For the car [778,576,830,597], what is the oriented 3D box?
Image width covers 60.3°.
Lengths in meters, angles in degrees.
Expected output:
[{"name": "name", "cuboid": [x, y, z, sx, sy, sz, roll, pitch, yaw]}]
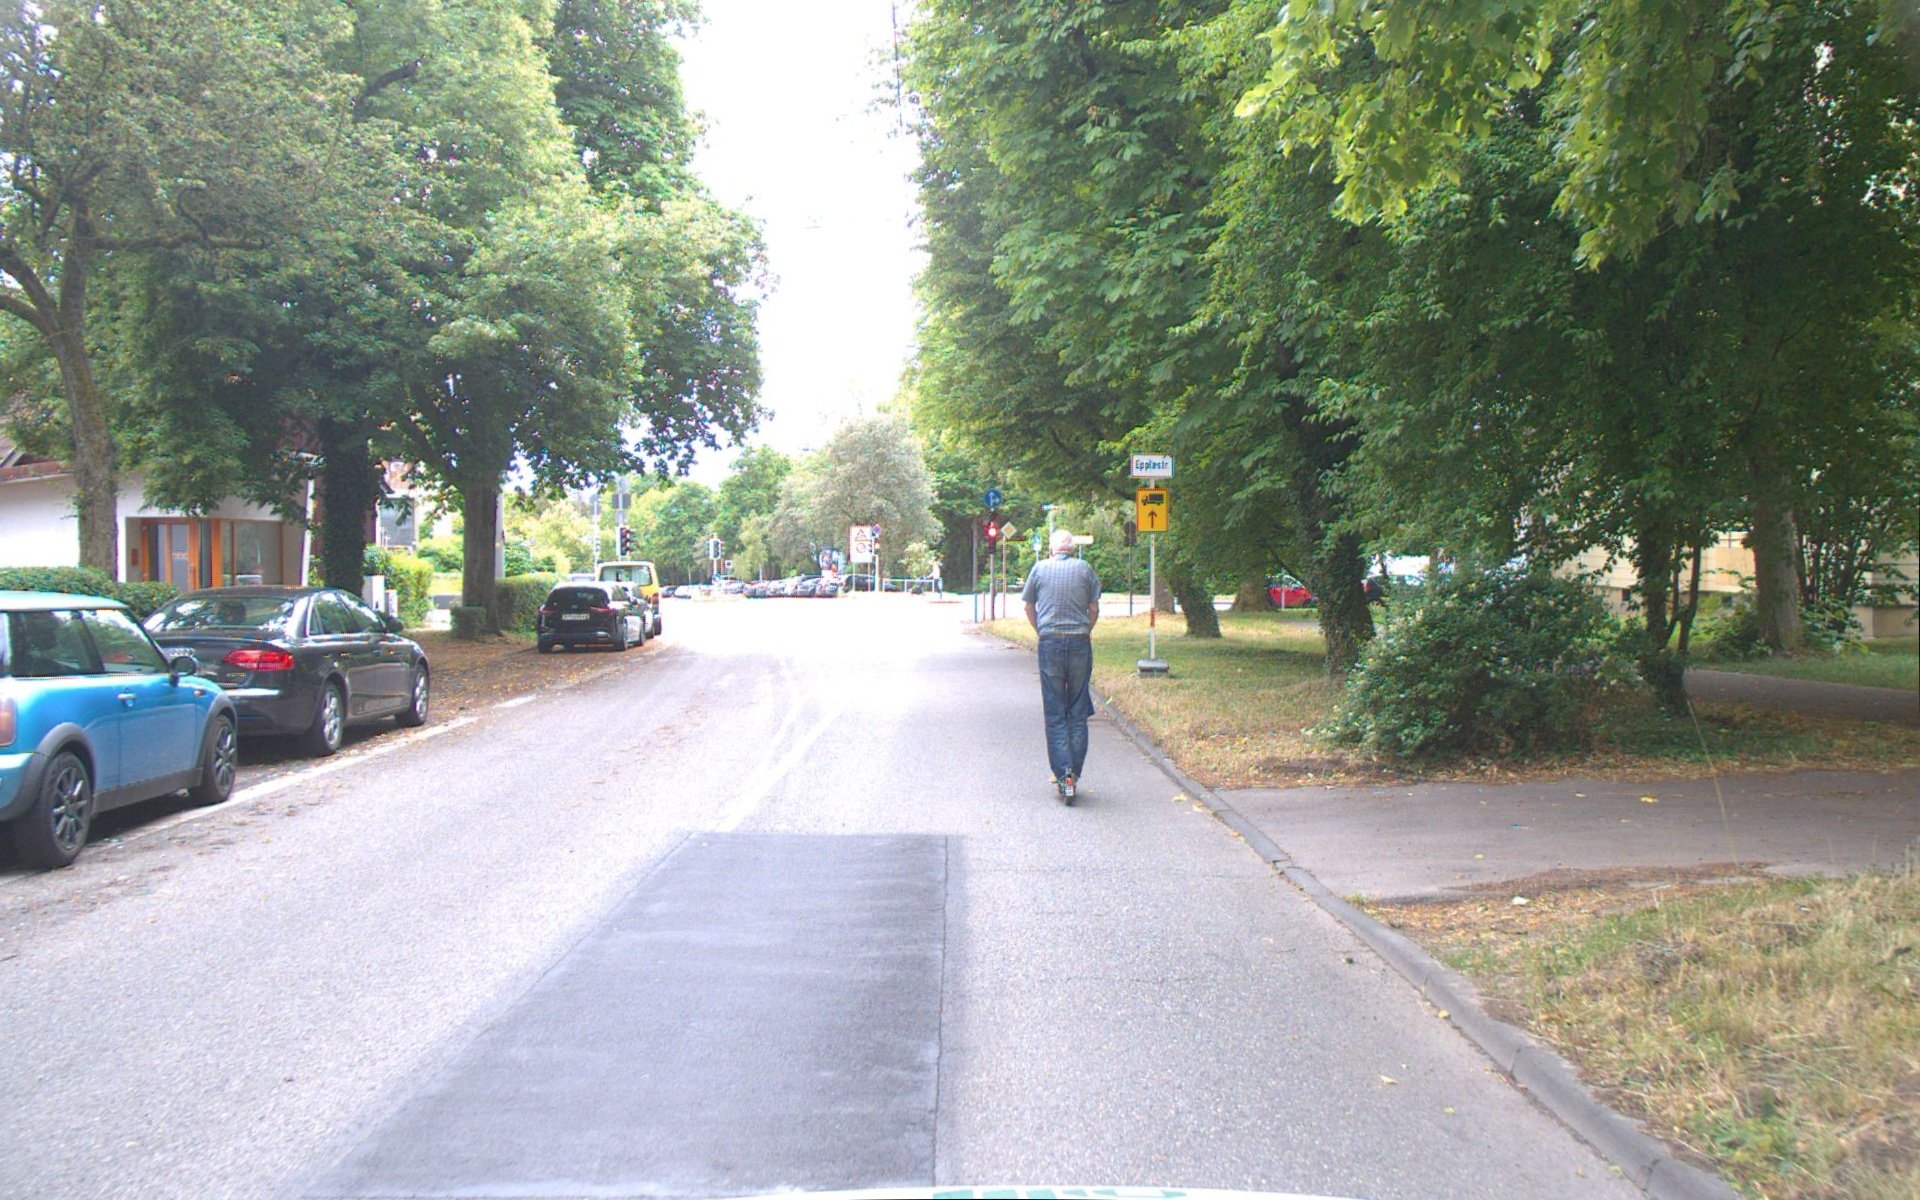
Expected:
[{"name": "car", "cuboid": [-12.012, -1.027, 127.279, 3.911, 1.536, 1.797, -1, 1, -7]}]

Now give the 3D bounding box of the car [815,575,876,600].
[{"name": "car", "cuboid": [-7.645, -0.851, 110.047, 3.911, 1.536, 1.797, -1, 1, -7]}]

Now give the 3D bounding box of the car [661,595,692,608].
[{"name": "car", "cuboid": [-36.849, 0.231, 215.024, 3.911, 1.536, 1.797, -1, 1, -7]}]

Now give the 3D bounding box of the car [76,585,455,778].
[{"name": "car", "cuboid": [-6.145, 0.613, 15.283, 1.759, 1.435, 4.642, -1, 1, -4]}]

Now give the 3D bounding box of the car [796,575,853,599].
[{"name": "car", "cuboid": [-9.589, -0.919, 116.738, 3.911, 1.536, 1.797, -1, 1, -7]}]

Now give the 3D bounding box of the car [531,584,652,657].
[{"name": "car", "cuboid": [-7.871, 0.404, 35.692, 1.854, 1.435, 4.550, -1, 0, -4]}]

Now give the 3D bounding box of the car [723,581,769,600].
[{"name": "car", "cuboid": [-18.519, -0.863, 143.076, 3.911, 1.536, 1.797, -1, 1, -7]}]

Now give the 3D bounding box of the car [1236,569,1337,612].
[{"name": "car", "cuboid": [13.251, -0.409, 67.347, 3.902, 1.584, 1.802, 1, 4, 8]}]

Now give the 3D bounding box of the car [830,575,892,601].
[{"name": "car", "cuboid": [-6.397, -0.796, 106.587, 3.911, 1.536, 1.797, -1, 1, -7]}]

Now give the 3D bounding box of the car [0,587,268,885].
[{"name": "car", "cuboid": [-5.514, 0.660, 9.759, 1.632, 1.416, 3.702, -1, 1, -7]}]

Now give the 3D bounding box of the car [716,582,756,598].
[{"name": "car", "cuboid": [-22.106, -1.003, 163.372, 3.911, 1.536, 1.797, -1, 1, -7]}]

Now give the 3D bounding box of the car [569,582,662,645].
[{"name": "car", "cuboid": [-8.462, 0.291, 40.871, 1.759, 1.440, 4.185, -1, 1, -5]}]

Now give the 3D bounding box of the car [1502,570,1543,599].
[{"name": "car", "cuboid": [30.786, -0.875, 90.601, 2.039, 1.536, 4.002, -1, 1, 18]}]

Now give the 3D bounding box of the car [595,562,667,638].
[{"name": "car", "cuboid": [-9.190, -0.005, 46.468, 1.824, 1.998, 4.494, -1, 0, -10]}]

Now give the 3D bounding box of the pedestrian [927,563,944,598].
[{"name": "pedestrian", "cuboid": [-1.245, -0.994, 84.013, 0.716, 1.792, 0.662, -1, 0, 15]}]

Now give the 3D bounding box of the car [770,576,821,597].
[{"name": "car", "cuboid": [-12.878, -1.023, 129.107, 3.911, 1.536, 1.797, -1, 1, -7]}]

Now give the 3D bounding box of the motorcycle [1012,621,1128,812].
[{"name": "motorcycle", "cuboid": [0.758, 0.793, 11.714, 0.659, 1.238, 1.273, 1, 1, -3]}]

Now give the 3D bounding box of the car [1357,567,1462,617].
[{"name": "car", "cuboid": [18.018, -0.345, 66.294, 3.905, 1.756, 1.801, 2, 4, 21]}]

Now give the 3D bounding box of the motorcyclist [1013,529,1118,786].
[{"name": "motorcyclist", "cuboid": [0.751, 0.399, 11.898, 0.659, 1.792, 0.638, 1, 0, -3]}]

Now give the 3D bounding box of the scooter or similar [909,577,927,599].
[{"name": "scooter or similar", "cuboid": [-2.137, -0.618, 84.250, 0.695, 1.067, 0.788, -1, 0, 15]}]
